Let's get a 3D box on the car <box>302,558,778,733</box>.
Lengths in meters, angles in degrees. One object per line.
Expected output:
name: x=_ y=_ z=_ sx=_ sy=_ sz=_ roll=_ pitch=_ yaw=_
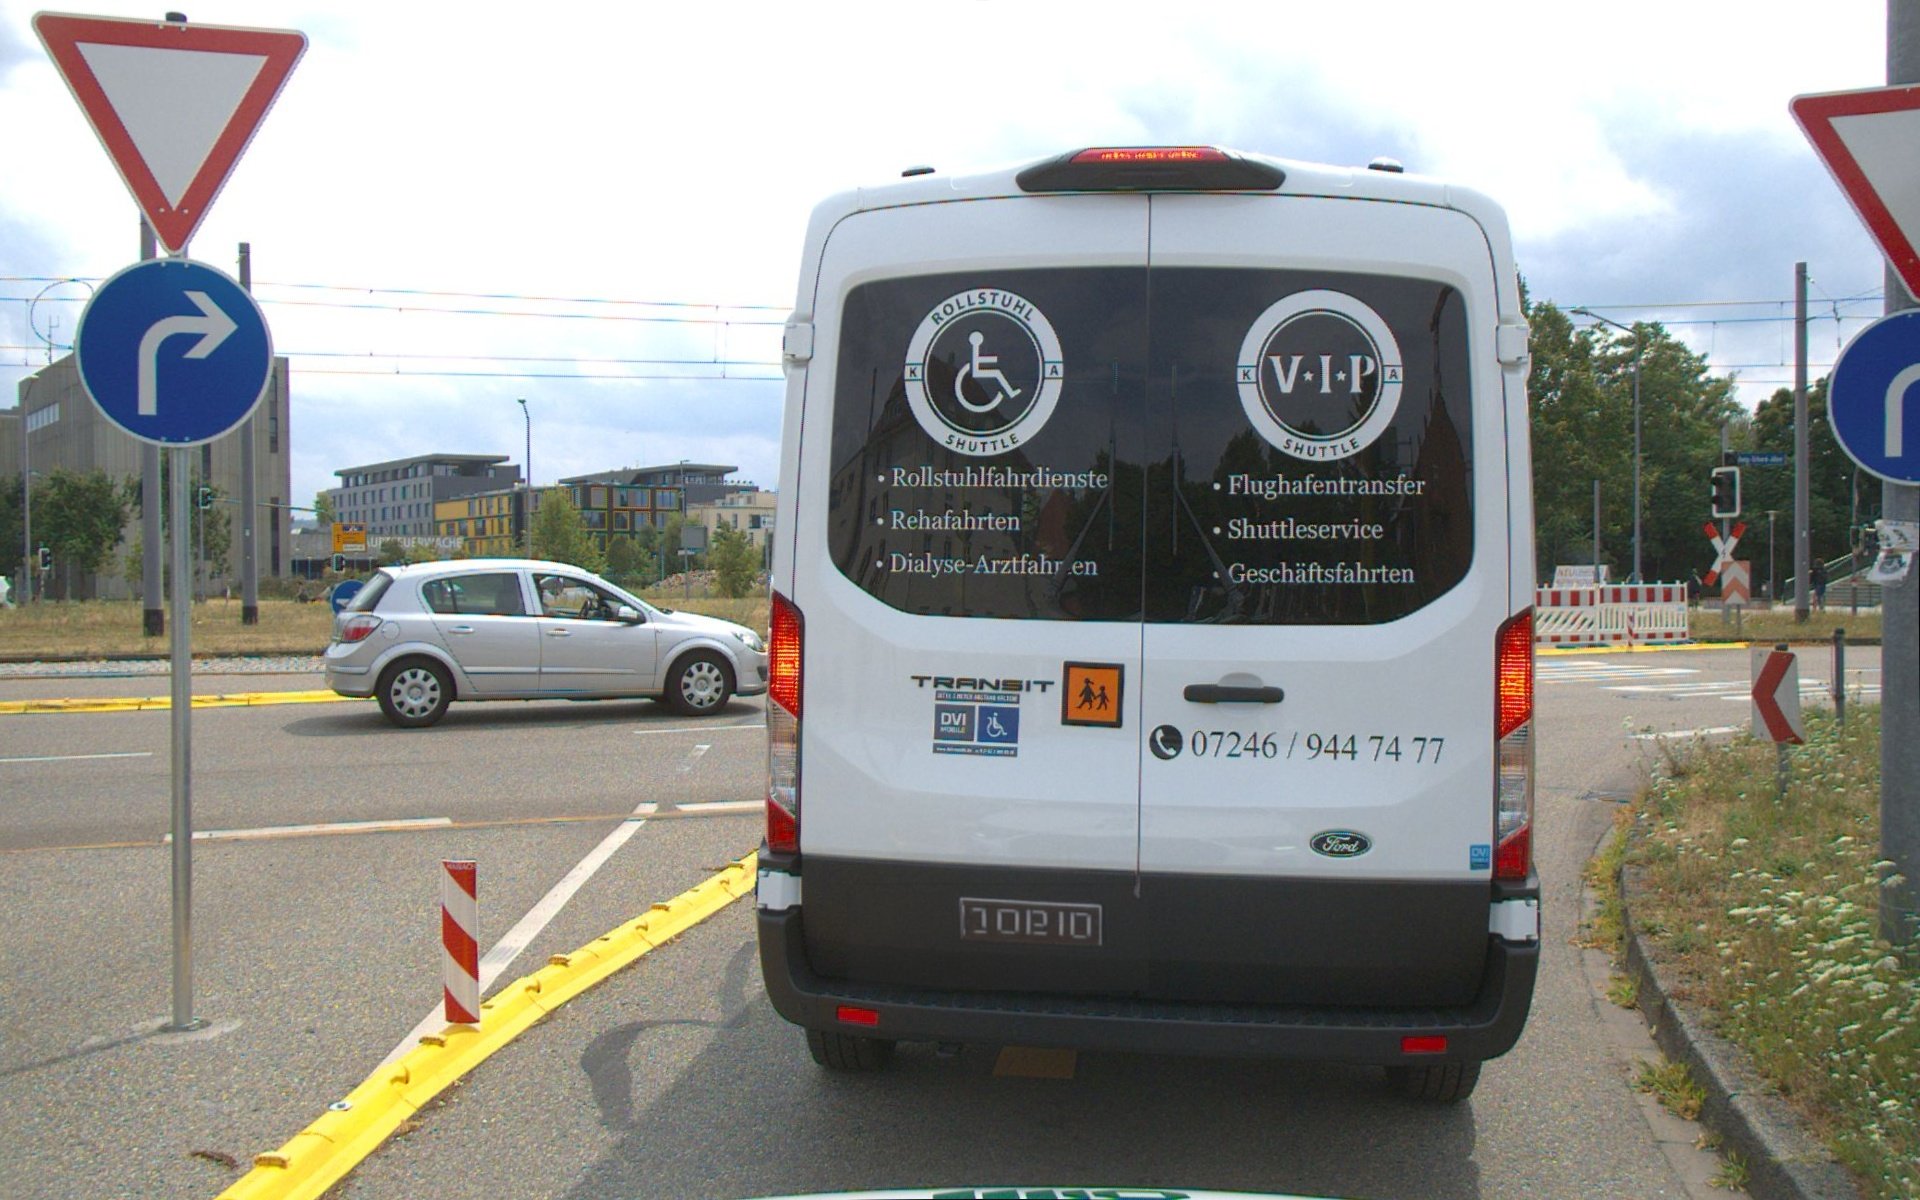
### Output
car: x=-4.001 y=0.360 z=15.817 sx=4.185 sy=1.488 sz=1.819 roll=-1 pitch=1 yaw=-21

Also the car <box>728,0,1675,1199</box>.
car: x=0.733 y=0.021 z=6.502 sx=2.081 sy=2.744 sz=5.635 roll=0 pitch=1 yaw=4

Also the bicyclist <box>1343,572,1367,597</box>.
bicyclist: x=14.315 y=-0.548 z=59.943 sx=0.645 sy=0.899 sz=0.604 roll=0 pitch=-1 yaw=36

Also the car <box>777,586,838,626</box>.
car: x=-8.001 y=0.315 z=87.323 sx=1.951 sy=2.049 sz=4.003 roll=0 pitch=-1 yaw=15

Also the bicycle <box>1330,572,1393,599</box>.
bicycle: x=14.524 y=-0.528 z=59.796 sx=2.161 sy=0.954 sz=0.611 roll=0 pitch=-1 yaw=37

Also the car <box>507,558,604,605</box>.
car: x=-18.550 y=-0.821 z=75.921 sx=4.275 sy=2.049 sz=1.992 roll=1 pitch=-1 yaw=-15

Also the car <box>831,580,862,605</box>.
car: x=-6.879 y=-0.457 z=100.083 sx=1.792 sy=1.489 sz=3.995 roll=0 pitch=0 yaw=-6

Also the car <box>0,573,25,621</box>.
car: x=-35.303 y=-0.087 z=57.663 sx=1.904 sy=1.695 sz=4.329 roll=0 pitch=1 yaw=42

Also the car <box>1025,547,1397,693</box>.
car: x=3.020 y=0.167 z=19.550 sx=4.316 sy=1.560 sz=1.714 roll=-1 pitch=1 yaw=-33
